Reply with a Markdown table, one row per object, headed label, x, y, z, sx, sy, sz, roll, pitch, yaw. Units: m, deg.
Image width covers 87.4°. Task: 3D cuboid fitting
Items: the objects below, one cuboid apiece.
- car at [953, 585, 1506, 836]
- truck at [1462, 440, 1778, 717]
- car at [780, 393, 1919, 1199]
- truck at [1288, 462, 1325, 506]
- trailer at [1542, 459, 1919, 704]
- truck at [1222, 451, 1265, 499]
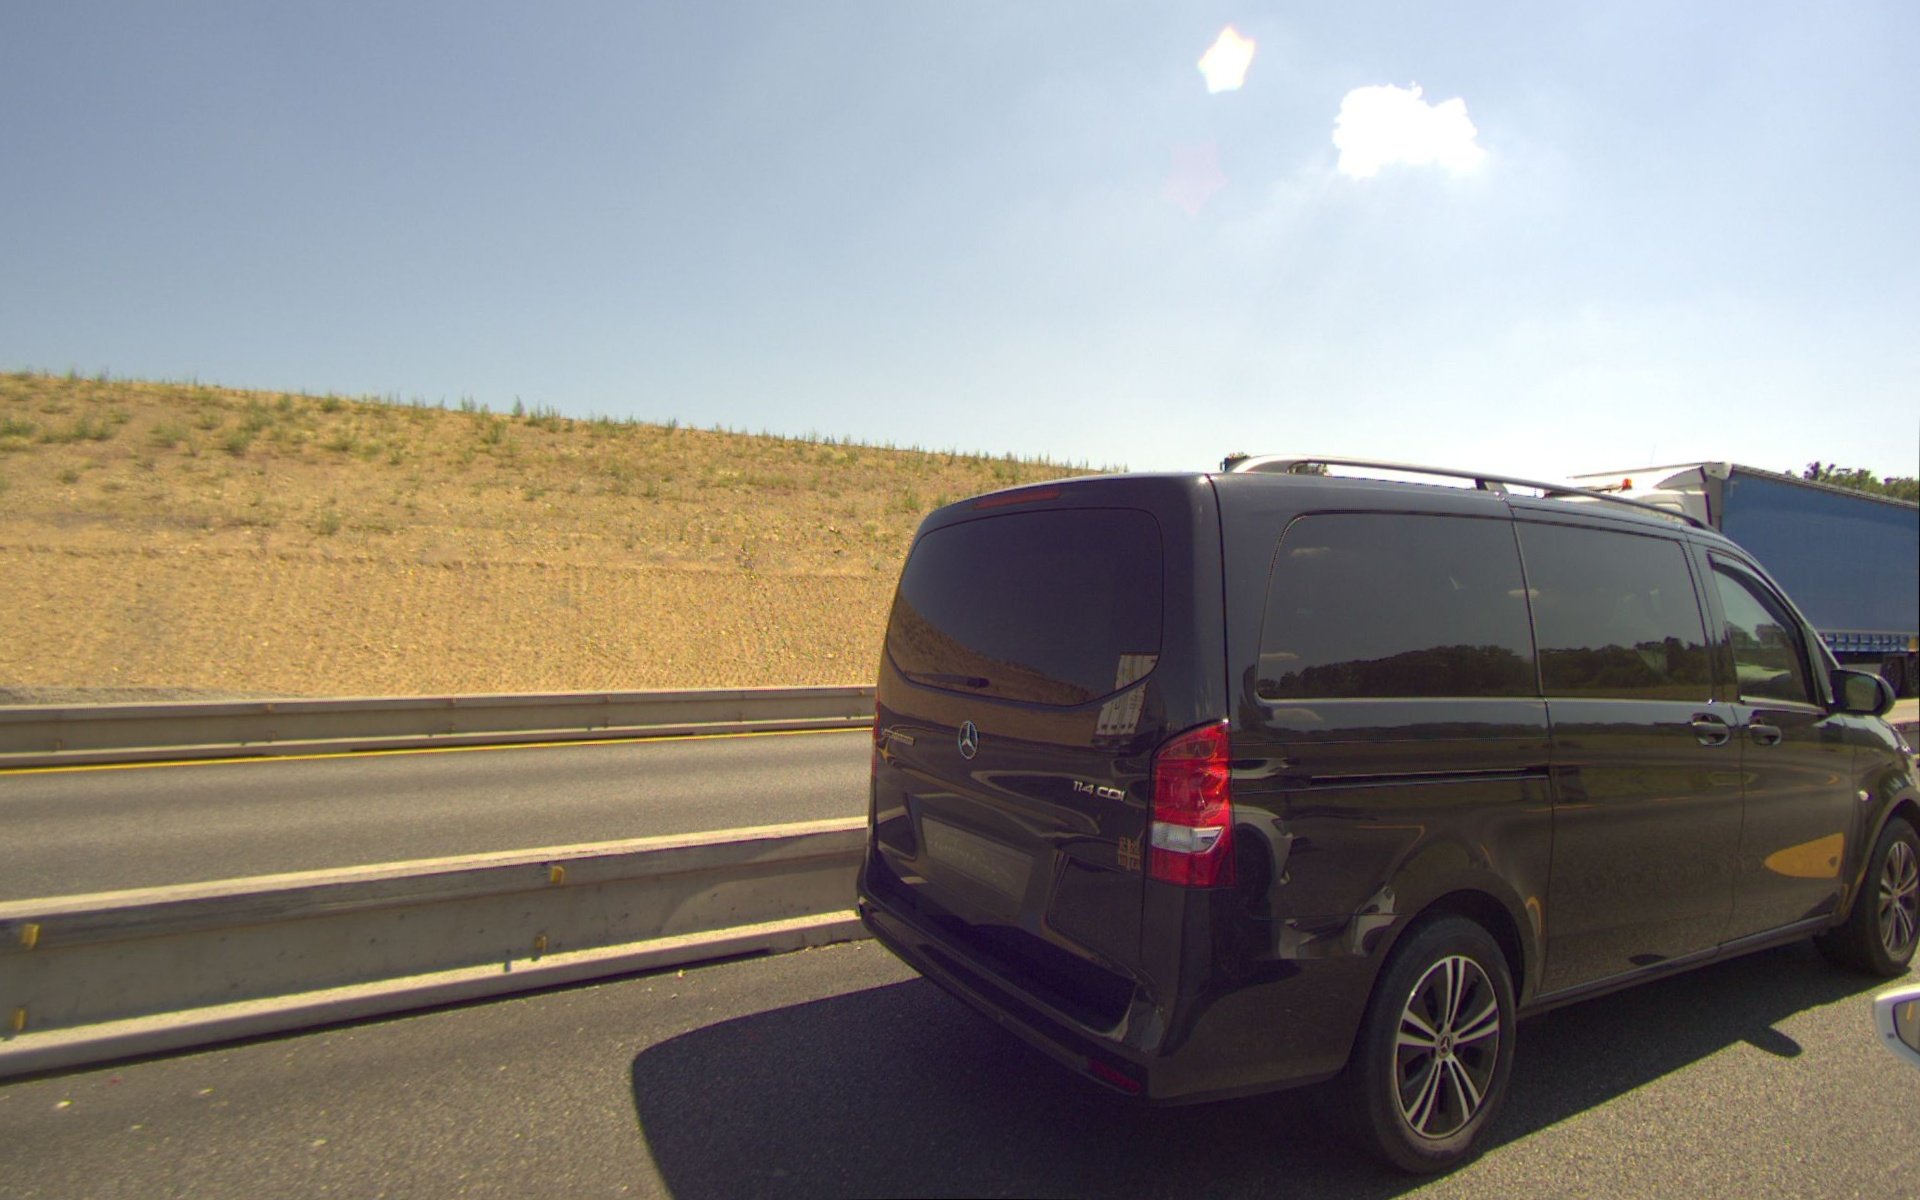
| label | x | y | z | sx | sy | sz | roll | pitch | yaw |
| --- | --- | --- | --- | --- | --- | --- | --- | --- | --- |
| car | 2.212 | 0.732 | 7.922 | 4.195 | 1.508 | 1.798 | 2 | 0 | -31 |
| truck | 11.440 | -0.286 | 17.371 | 5.091 | 4.108 | 2.578 | 1 | 0 | -31 |
| car | 2.163 | 0.582 | 4.175 | 5.415 | 1.876 | 1.865 | 2 | 0 | -31 |
| truck | 31.250 | -10.328 | 90.380 | 2.259 | 2.785 | 8.901 | 2 | 0 | 24 |
| trailer | 17.464 | -0.162 | 21.023 | 13.833 | 3.991 | 2.640 | 2 | 0 | -31 |
| truck | 24.619 | -10.723 | 87.062 | 2.317 | 2.937 | 8.362 | 2 | 0 | 24 |
